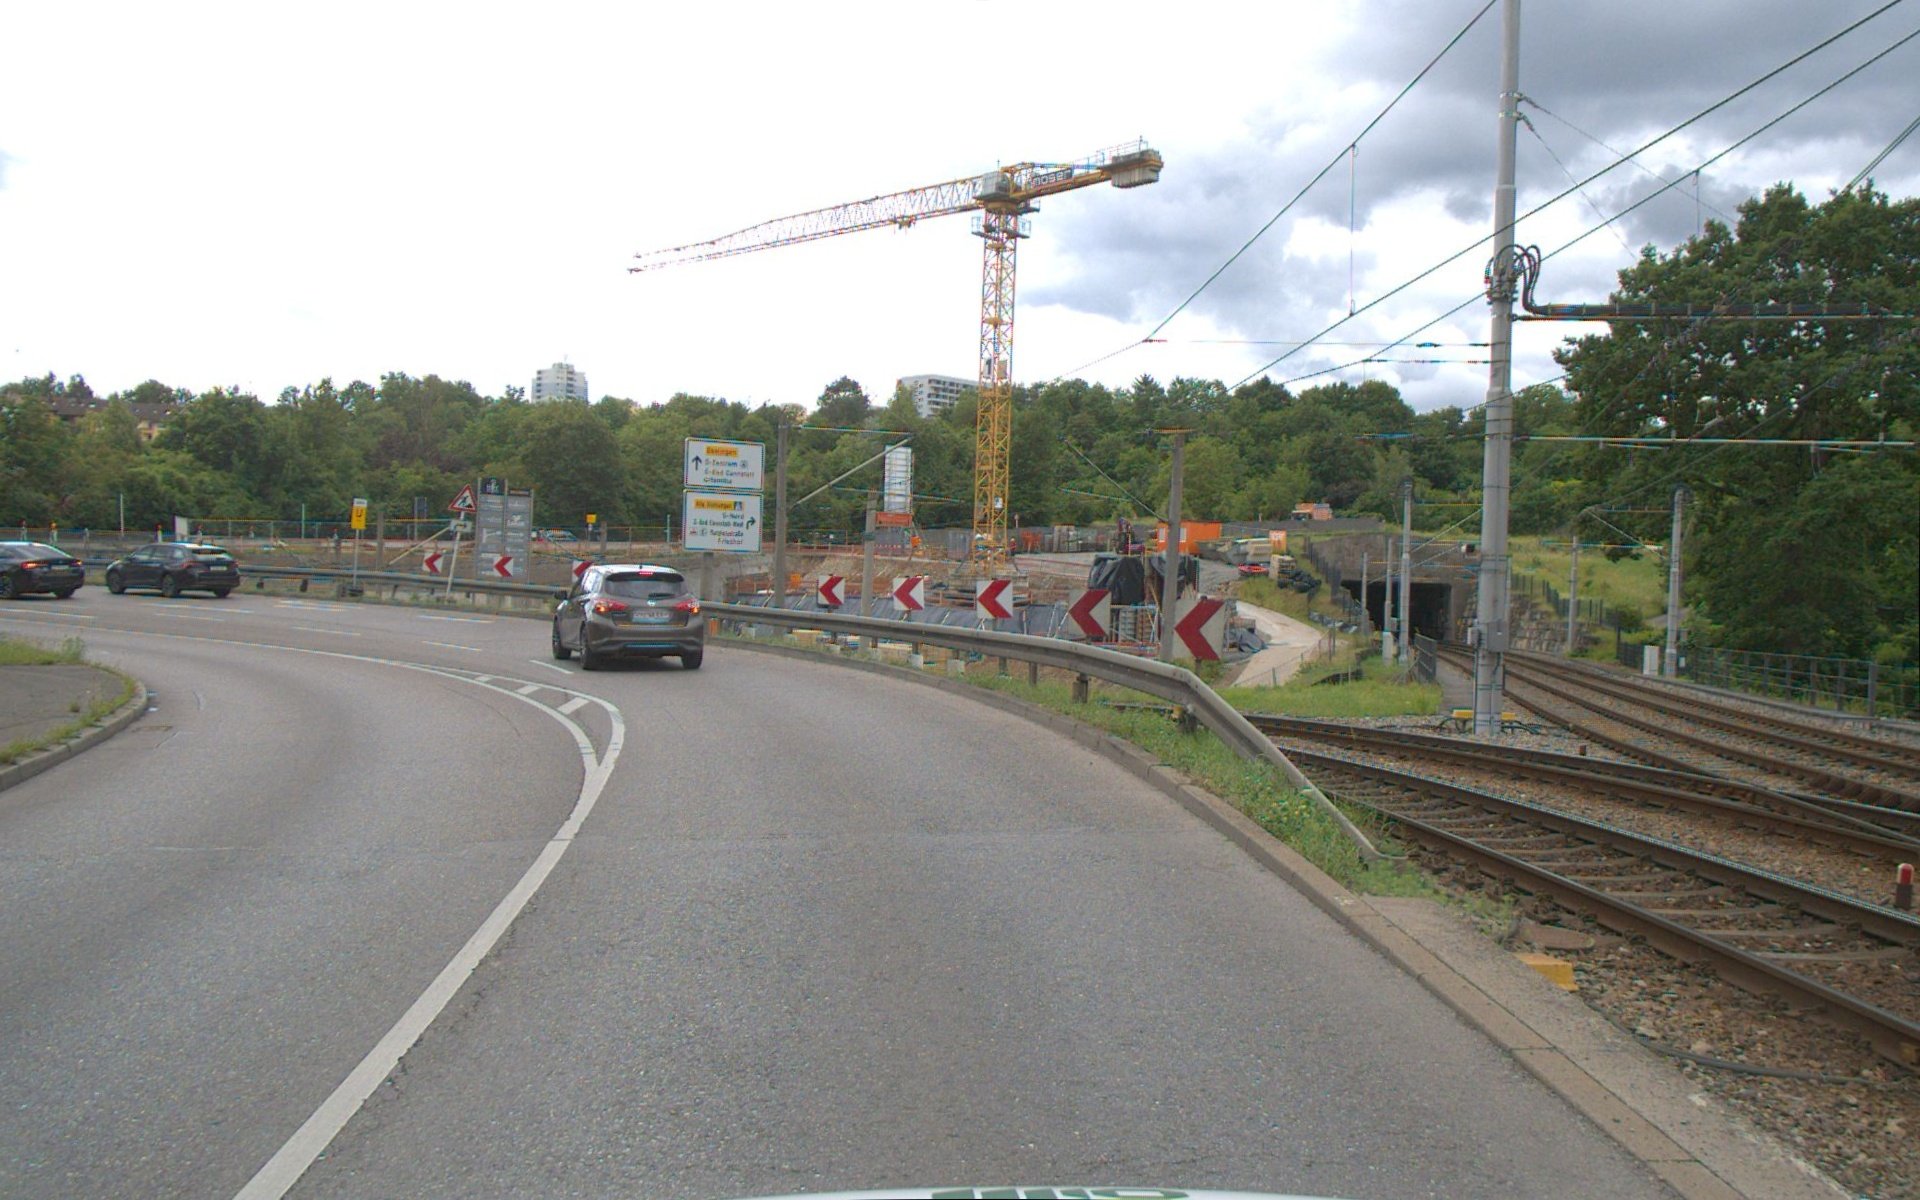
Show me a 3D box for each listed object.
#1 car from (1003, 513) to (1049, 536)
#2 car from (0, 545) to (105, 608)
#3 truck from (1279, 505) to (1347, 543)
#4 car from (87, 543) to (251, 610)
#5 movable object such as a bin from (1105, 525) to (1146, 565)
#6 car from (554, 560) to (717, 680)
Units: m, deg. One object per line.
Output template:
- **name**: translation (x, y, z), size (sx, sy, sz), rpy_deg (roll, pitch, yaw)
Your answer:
- **car**: translation (6.154, -6.983, 153.328), size (3.958, 2.049, 1.974), rpy_deg (0, 1, -38)
- **car**: translation (-25.784, -0.679, 45.061), size (4.850, 1.502, 1.878), rpy_deg (3, 4, 25)
- **truck**: translation (42.812, -9.236, 200.499), size (9.719, 4.293, 3.071), rpy_deg (0, 3, -44)
- **car**: translation (-22.168, -0.697, 46.378), size (4.106, 1.664, 1.879), rpy_deg (2, 4, 22)
- **movable object such as a bin**: translation (13.119, -4.362, 131.059), size (1.824, 3.131, 2.760), rpy_deg (0, 1, -40)
- **car**: translation (-5.095, 0.243, 25.593), size (1.772, 1.579, 3.975), rpy_deg (0, 3, -22)
